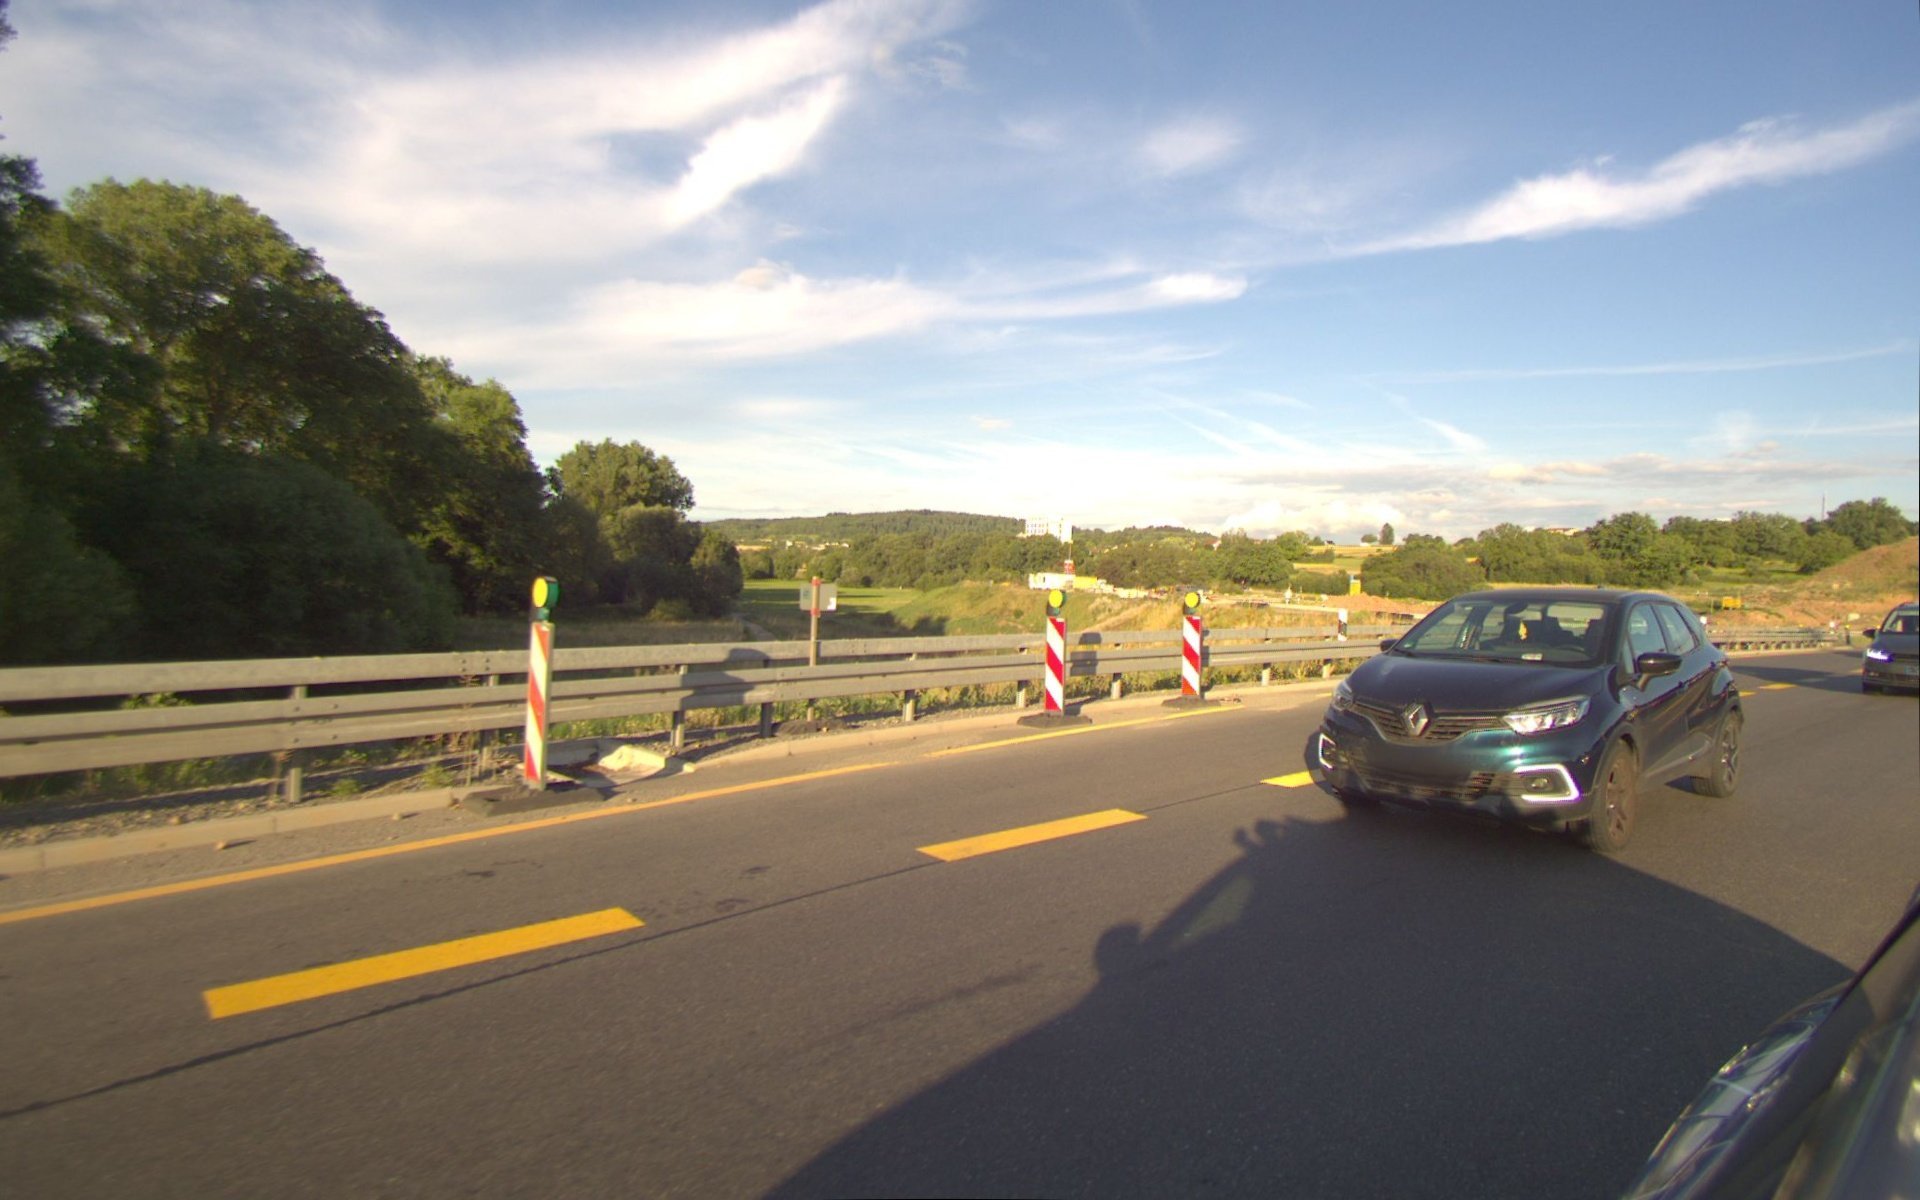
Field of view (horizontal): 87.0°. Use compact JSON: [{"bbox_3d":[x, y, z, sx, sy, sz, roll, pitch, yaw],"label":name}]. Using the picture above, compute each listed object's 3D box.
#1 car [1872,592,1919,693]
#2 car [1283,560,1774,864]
[{"bbox_3d":[17.484,0.716,17.724,4.448,1.636,1.815,1,-1,-42],"label":"car"},{"bbox_3d":[4.278,0.615,7.344,4.060,1.606,1.778,2,0,-40],"label":"car"}]
